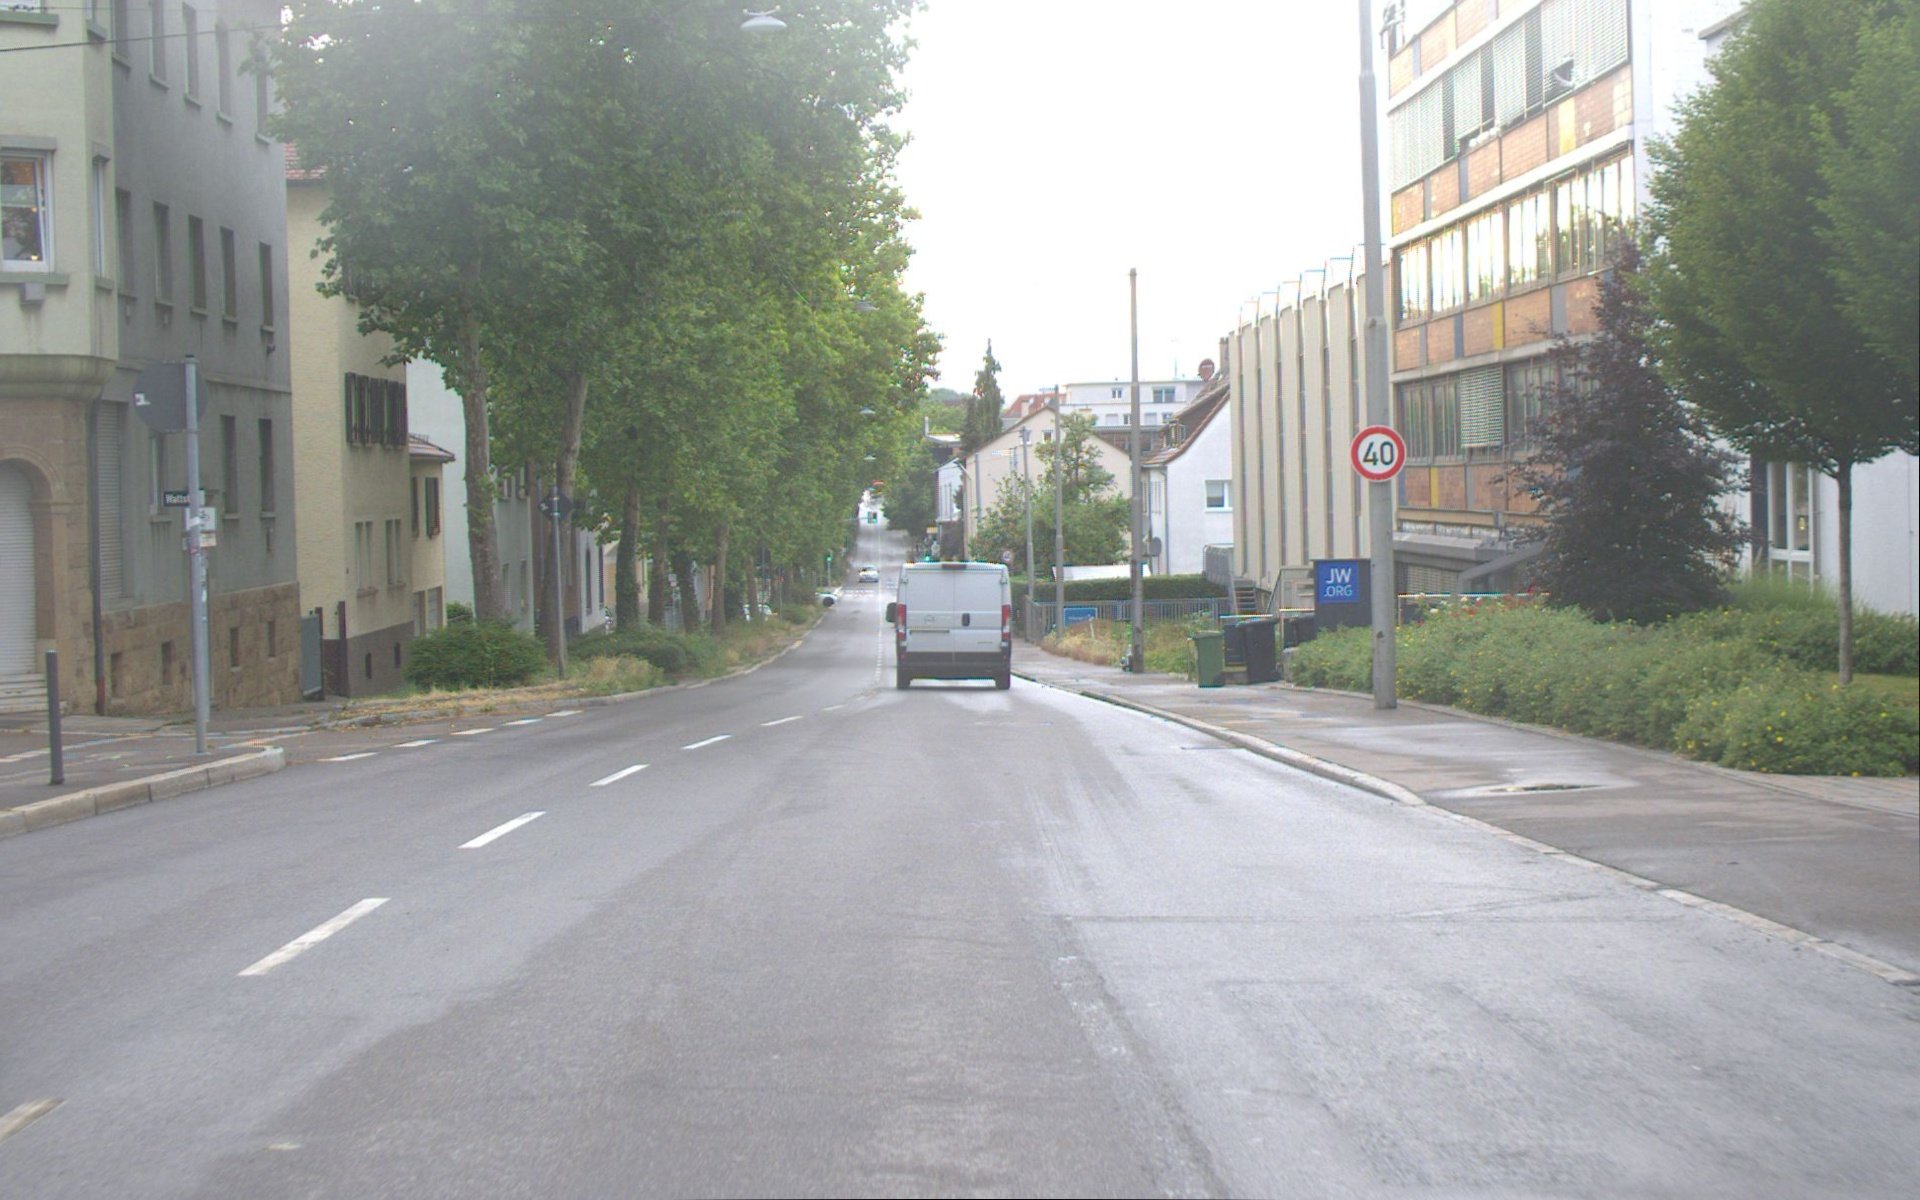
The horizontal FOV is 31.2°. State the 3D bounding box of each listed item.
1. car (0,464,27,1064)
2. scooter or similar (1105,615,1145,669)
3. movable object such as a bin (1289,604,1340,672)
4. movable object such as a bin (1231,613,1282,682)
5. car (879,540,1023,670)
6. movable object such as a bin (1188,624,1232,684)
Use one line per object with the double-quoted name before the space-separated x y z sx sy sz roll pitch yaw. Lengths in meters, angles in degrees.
"car" -3.919 0.540 8.716 1.882 1.863 4.453 -2 0 0
"scooter or similar" 3.624 0.914 75.541 0.605 1.158 1.700 -1 0 -5
"movable object such as a bin" 5.866 0.629 56.863 0.695 1.078 0.778 -4 0 0
"movable object such as a bin" 4.896 0.786 56.805 0.695 1.078 0.778 -4 0 0
"car" -0.208 0.038 62.179 2.346 2.153 4.778 -1 2 -3
"movable object such as a bin" 4.115 0.892 56.643 0.619 0.933 0.686 -4 0 0
